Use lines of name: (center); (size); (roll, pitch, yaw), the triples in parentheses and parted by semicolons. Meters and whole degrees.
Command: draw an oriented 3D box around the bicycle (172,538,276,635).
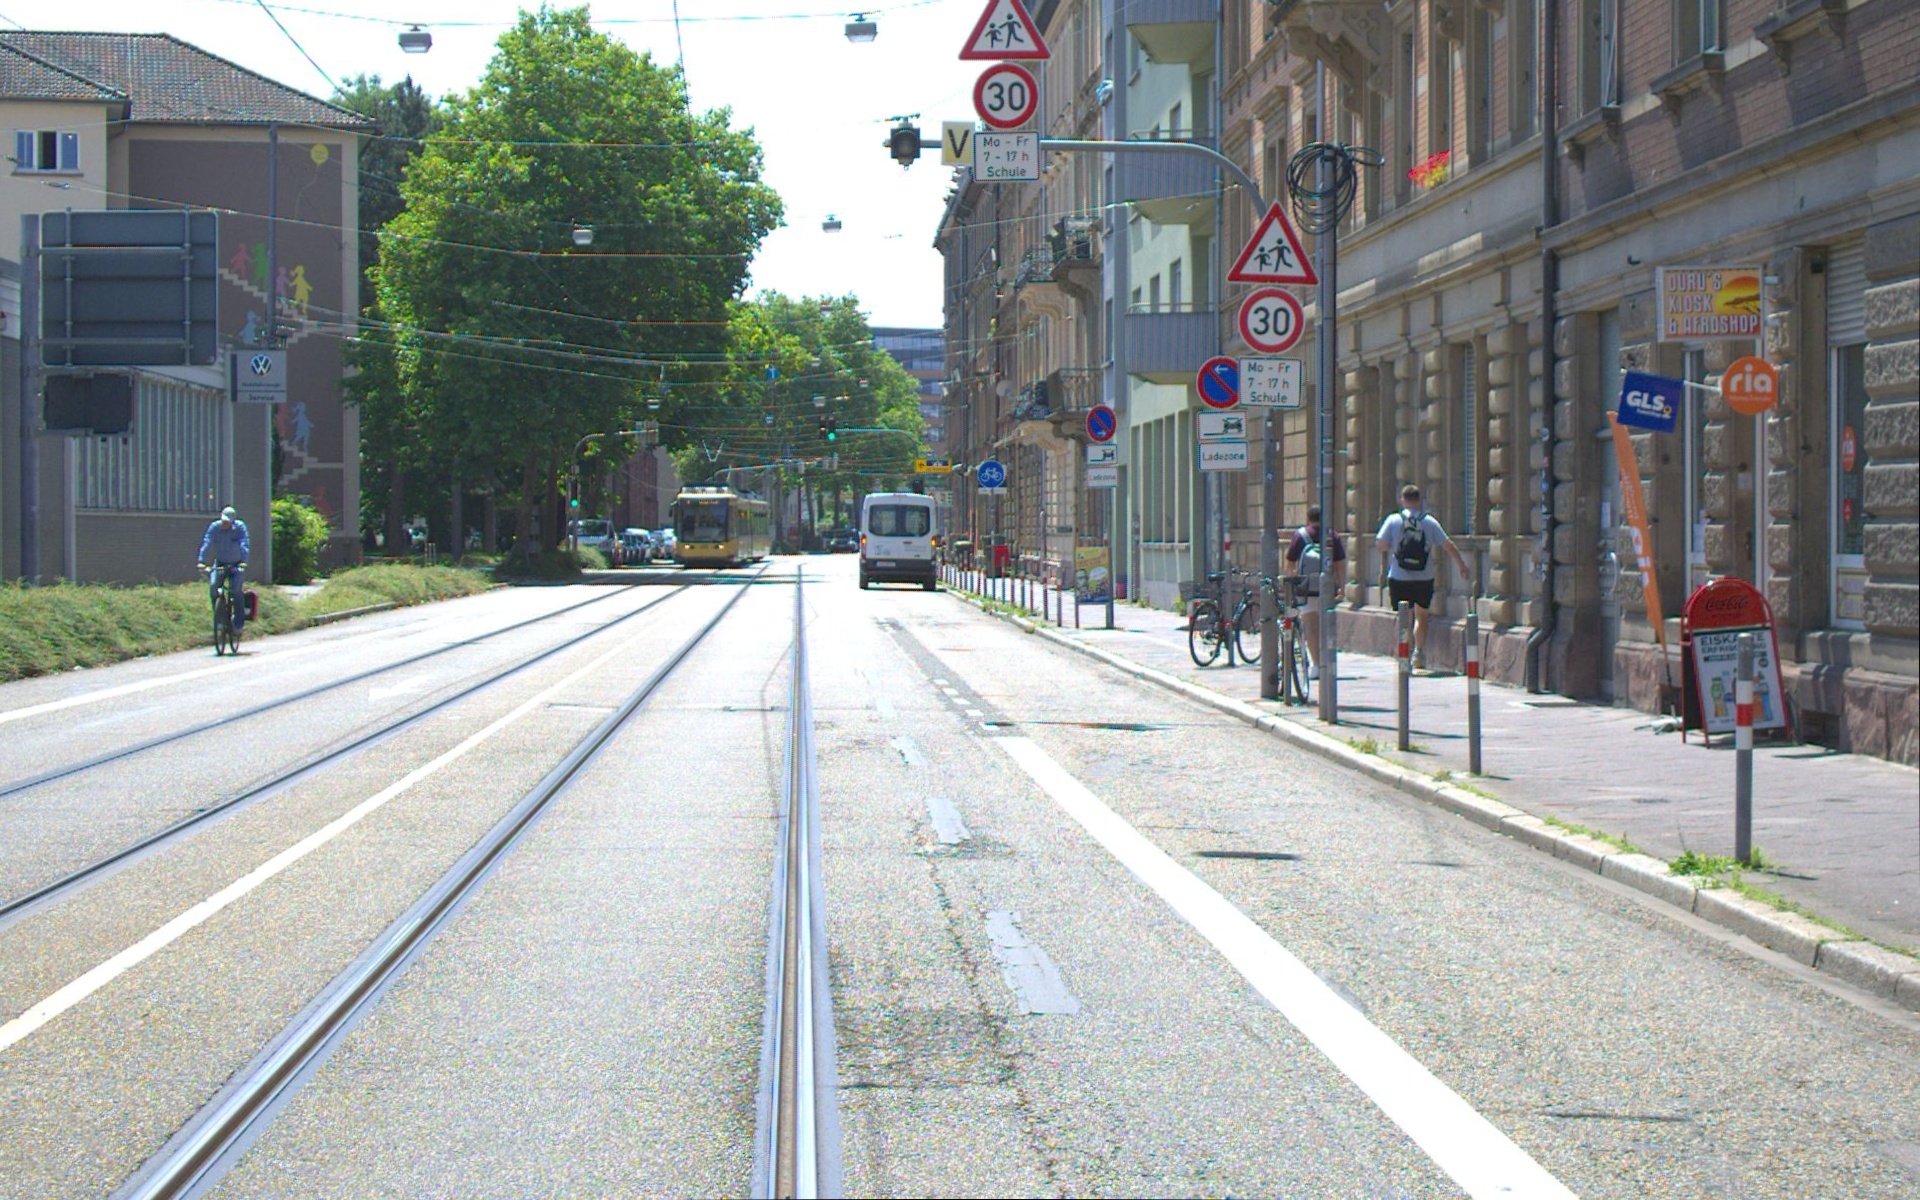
bicycle: (-9.136, -0.185, 42.752); (0.698, 1.140, 2.496); (0, 1, 1)

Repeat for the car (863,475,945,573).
car: (-1.528, -2.039, 91.894); (2.067, 2.492, 5.455); (1, 1, -1)

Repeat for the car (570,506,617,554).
car: (-15.077, -2.896, 141.501); (1.800, 1.916, 4.001); (1, 1, -5)

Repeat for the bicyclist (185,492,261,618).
bicyclist: (-9.148, -0.568, 42.695); (0.698, 1.543, 0.980); (0, 1, 1)

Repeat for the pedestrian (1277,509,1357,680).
pedestrian: (3.608, -0.061, 34.776); (0.720, 1.714, 0.644); (0, 1, -1)

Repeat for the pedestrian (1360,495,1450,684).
pedestrian: (4.485, -0.114, 34.691); (0.702, 1.842, 0.644); (-4, 1, -1)

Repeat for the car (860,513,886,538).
car: (-6.530, -5.614, 258.499); (1.673, 1.853, 4.001); (1, 1, -5)

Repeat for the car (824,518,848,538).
car: (-9.032, -5.225, 250.090); (1.528, 1.404, 3.490); (1, 1, -5)

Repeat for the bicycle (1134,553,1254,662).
bicycle: (2.595, 0.067, 37.838); (0.499, 1.127, 2.240); (0, 2, 26)

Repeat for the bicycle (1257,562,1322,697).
bicycle: (2.873, 0.238, 30.102); (0.447, 1.093, 2.423); (0, 1, 3)

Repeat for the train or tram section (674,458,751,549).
train or tram section: (-10.225, -3.997, 143.111); (2.960, 3.568, 13.425); (0, 1, -3)
